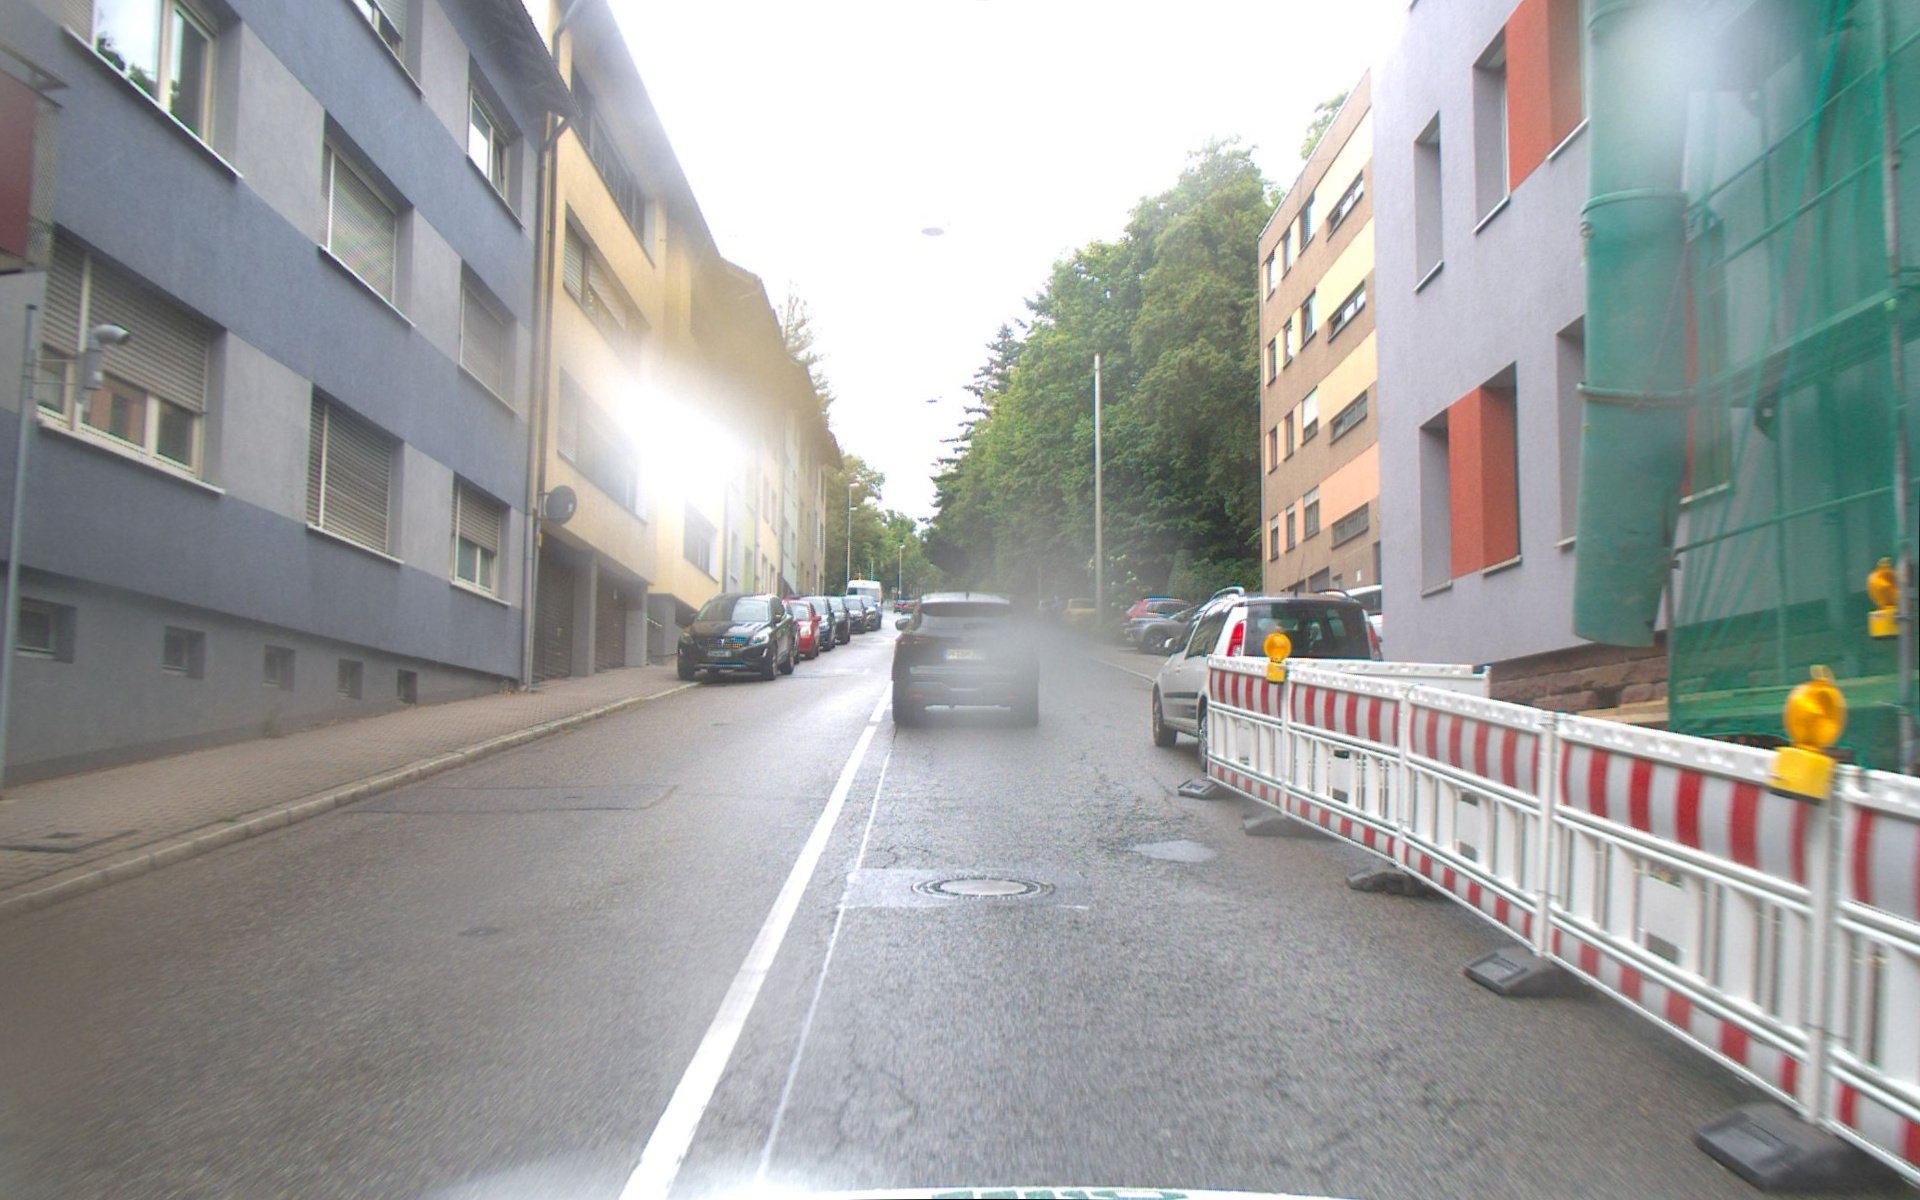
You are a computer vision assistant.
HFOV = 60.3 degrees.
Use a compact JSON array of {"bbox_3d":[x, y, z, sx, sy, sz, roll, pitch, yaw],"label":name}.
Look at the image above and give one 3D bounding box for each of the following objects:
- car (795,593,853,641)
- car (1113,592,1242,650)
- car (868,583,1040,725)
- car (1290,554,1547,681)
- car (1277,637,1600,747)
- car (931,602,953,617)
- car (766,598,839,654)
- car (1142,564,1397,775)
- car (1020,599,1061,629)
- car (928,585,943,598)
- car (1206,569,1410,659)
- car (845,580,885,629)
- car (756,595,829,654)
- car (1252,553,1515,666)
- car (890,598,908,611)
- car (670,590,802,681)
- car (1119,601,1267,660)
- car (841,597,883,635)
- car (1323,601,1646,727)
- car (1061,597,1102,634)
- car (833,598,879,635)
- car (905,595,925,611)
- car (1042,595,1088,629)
[{"bbox_3d":[-4.709,0.559,57.822,1.816,1.613,4.303,0,0,-2],"label":"car"},{"bbox_3d":[7.577,0.719,57.793,4.116,1.765,1.758,3,0,-5],"label":"car"},{"bbox_3d":[-0.106,0.611,21.299,1.953,1.586,3.999,2,0,-1],"label":"car"},{"bbox_3d":[7.744,0.282,28.155,3.751,1.731,1.728,-6,0,-3],"label":"car"},{"bbox_3d":[6.937,1.320,24.259,4.182,1.492,1.893,0,0,-3],"label":"car"},{"bbox_3d":[-1.946,1.028,177.009,2.034,1.587,3.997,1,0,-4],"label":"car"},{"bbox_3d":[-4.772,0.749,50.544,1.953,1.613,4.469,0,0,-2],"label":"car"},{"bbox_3d":[2.945,0.591,16.547,1.607,1.793,3.998,2,1,-2],"label":"car"},{"bbox_3d":[4.364,0.750,90.543,1.775,1.557,4.414,-1,0,-3],"label":"car"},{"bbox_3d":[-3.396,-1.180,233.126,1.952,1.587,4.000,0,-2,1],"label":"car"},{"bbox_3d":[7.418,0.282,35.446,3.885,1.556,1.691,-5,0,-5],"label":"car"},{"bbox_3d":[-5.037,0.204,88.221,1.950,2.518,5.782,0,0,-2],"label":"car"},{"bbox_3d":[-4.380,0.618,43.664,1.693,1.498,3.490,0,0,-2],"label":"car"},{"bbox_3d":[7.767,0.166,30.596,4.256,1.556,1.876,-6,0,-2],"label":"car"},{"bbox_3d":[-7.266,0.532,197.453,2.033,1.587,3.998,1,0,-2],"label":"car"},{"bbox_3d":[-4.407,0.657,33.215,1.952,1.679,4.442,0,0,1],"label":"car"},{"bbox_3d":[7.010,0.918,49.986,4.115,1.522,1.759,3,0,-3],"label":"car"},{"bbox_3d":[-4.799,0.771,81.360,1.950,1.786,4.478,0,0,-2],"label":"car"},{"bbox_3d":[6.855,0.810,21.837,3.726,1.577,1.659,0,0,-3],"label":"car"},{"bbox_3d":[5.366,0.661,73.304,1.599,1.557,4.001,2,0,1],"label":"car"},{"bbox_3d":[-4.715,0.738,75.556,1.950,1.613,4.303,0,0,-2],"label":"car"},{"bbox_3d":[-4.745,0.315,173.612,2.033,1.587,3.998,1,0,-3],"label":"car"},{"bbox_3d":[5.060,0.581,80.263,1.774,1.557,4.415,-1,0,-2],"label":"car"}]
